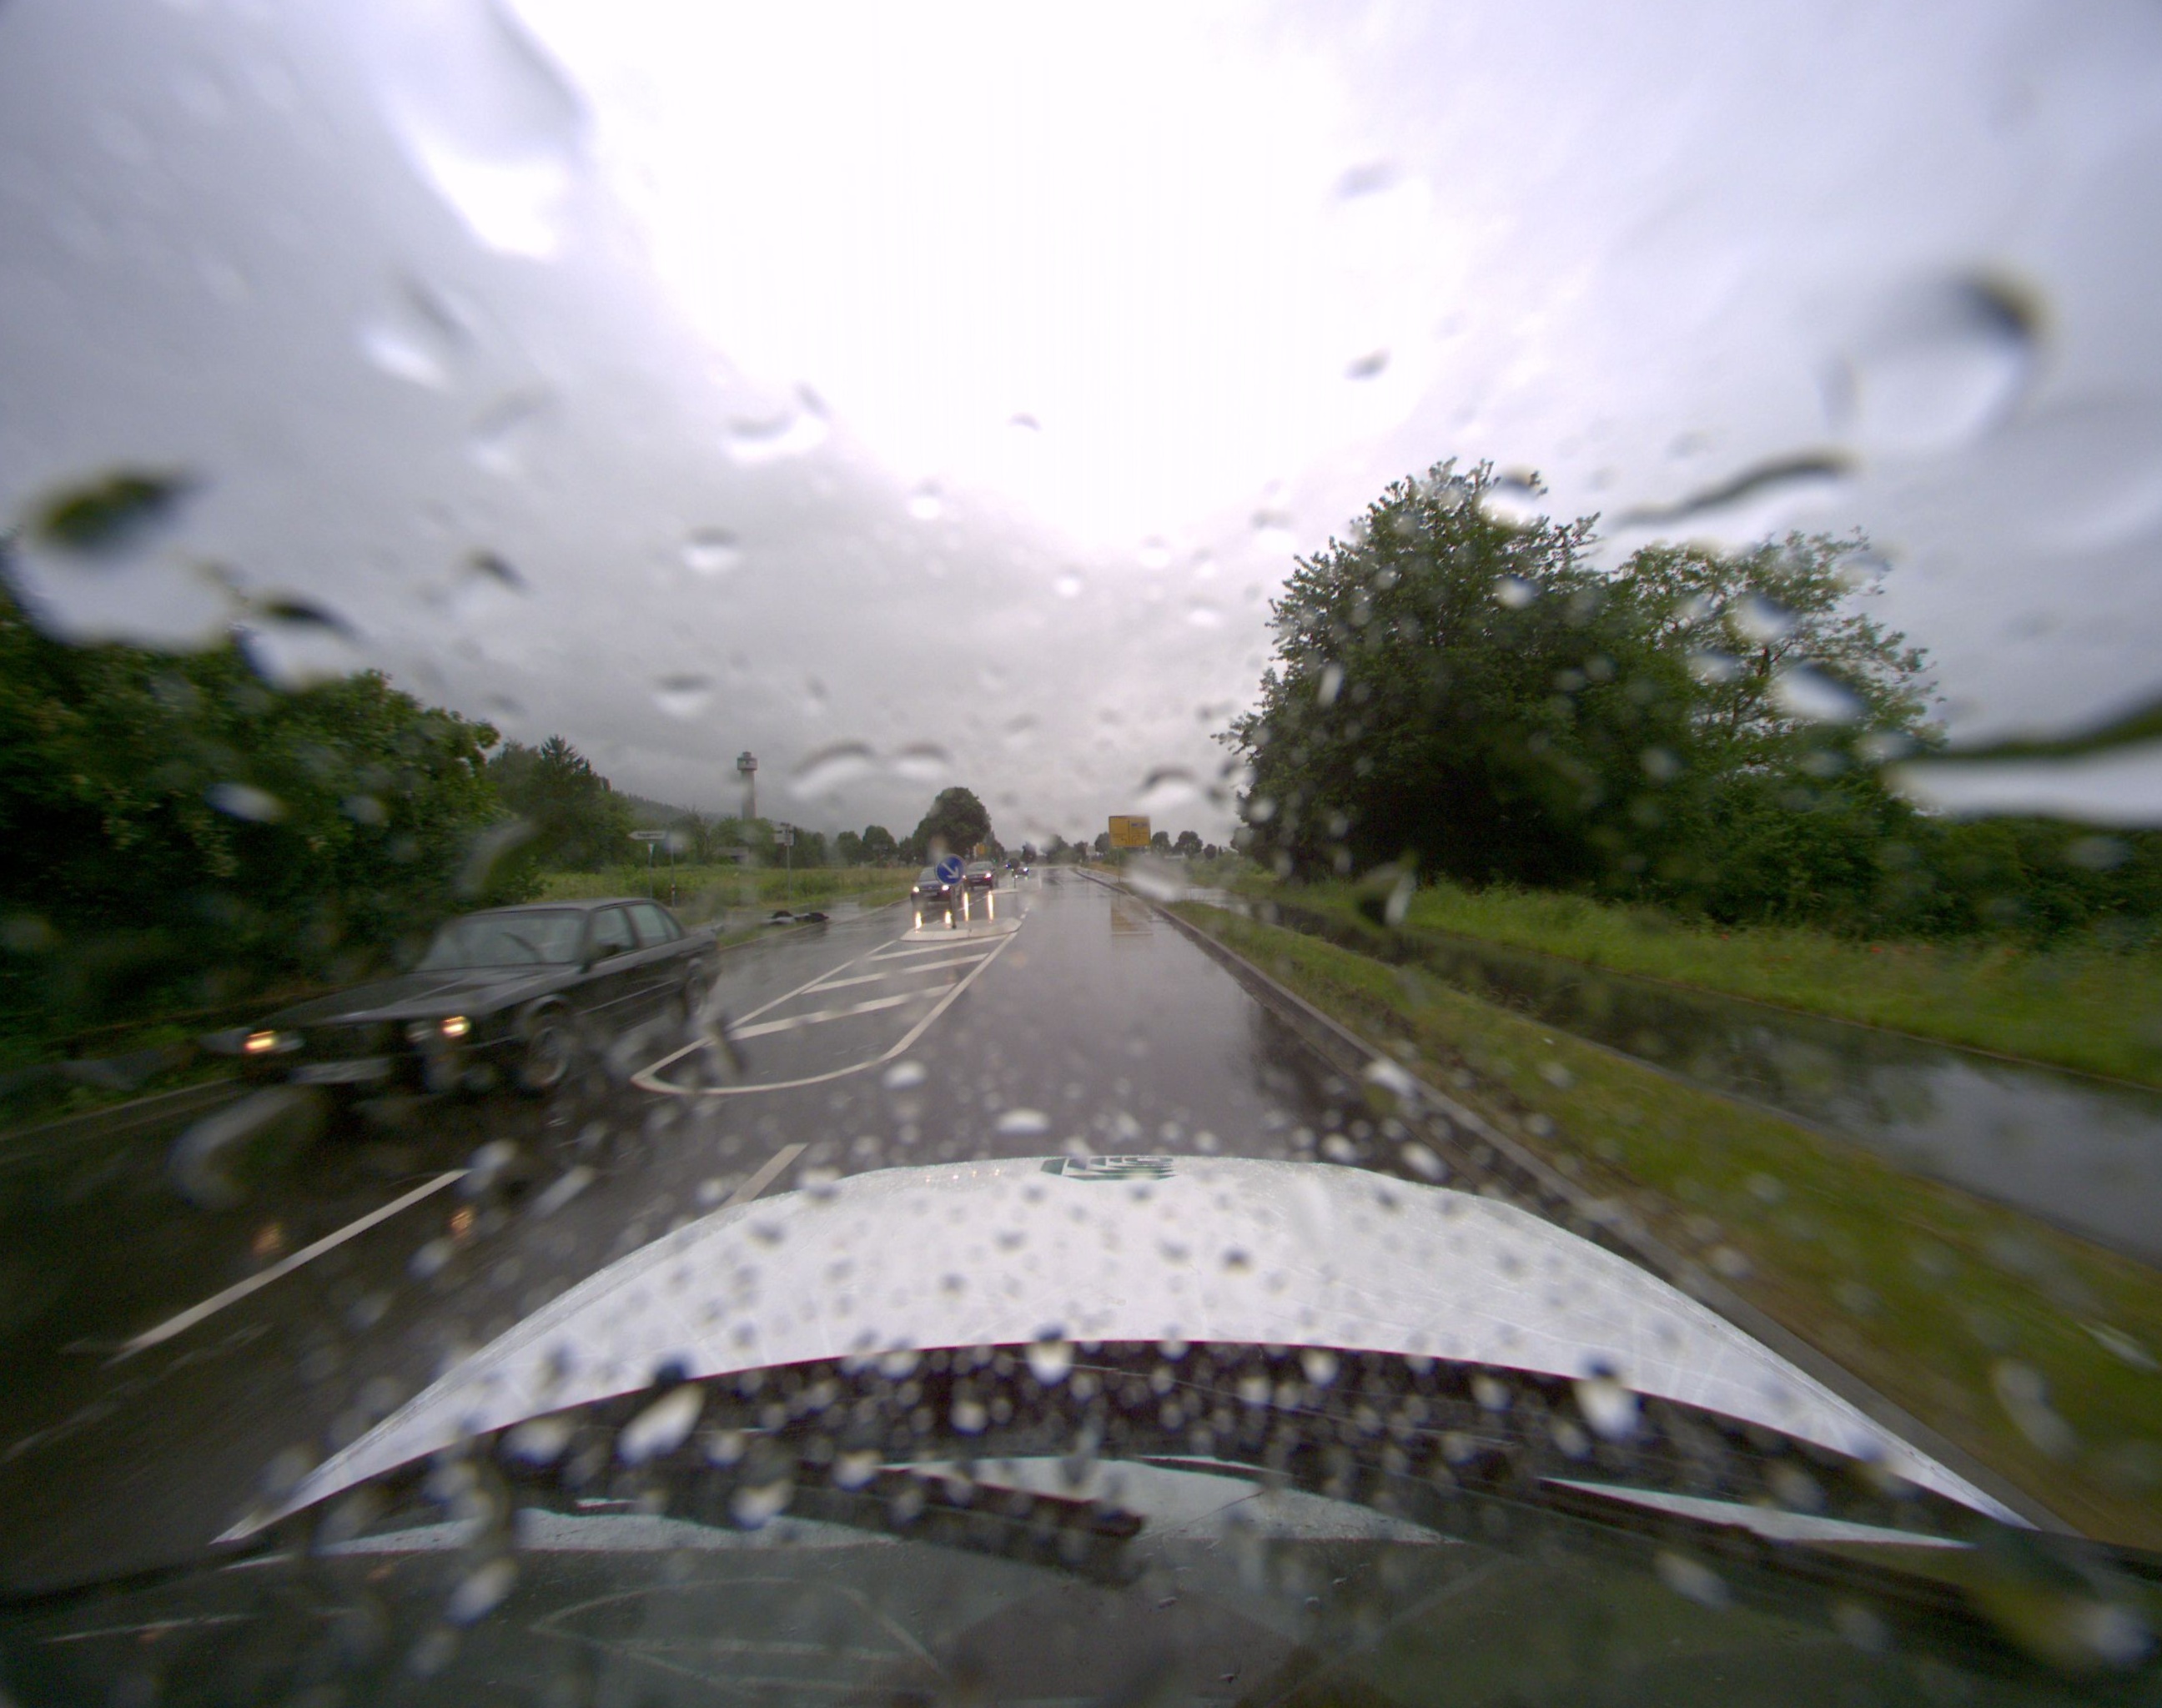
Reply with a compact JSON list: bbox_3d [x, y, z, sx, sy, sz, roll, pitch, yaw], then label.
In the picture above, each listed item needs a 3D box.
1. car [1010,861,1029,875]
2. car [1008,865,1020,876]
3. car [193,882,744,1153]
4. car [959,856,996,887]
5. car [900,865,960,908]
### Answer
[{"bbox_3d":[-6.632,1.491,87.548,1.692,1.402,3.765,-5,0,-1],"label":"car"},{"bbox_3d":[-12.134,2.976,148.149,1.990,1.972,4.949,-4,0,-4],"label":"car"},{"bbox_3d":[-4.607,1.063,7.096,1.679,1.382,4.219,-4,0,-3],"label":"car"},{"bbox_3d":[-6.332,1.026,50.353,1.737,1.718,4.264,-4,0,-1],"label":"car"},{"bbox_3d":[-5.986,1.255,32.640,1.737,1.445,3.679,-4,0,-2],"label":"car"}]
